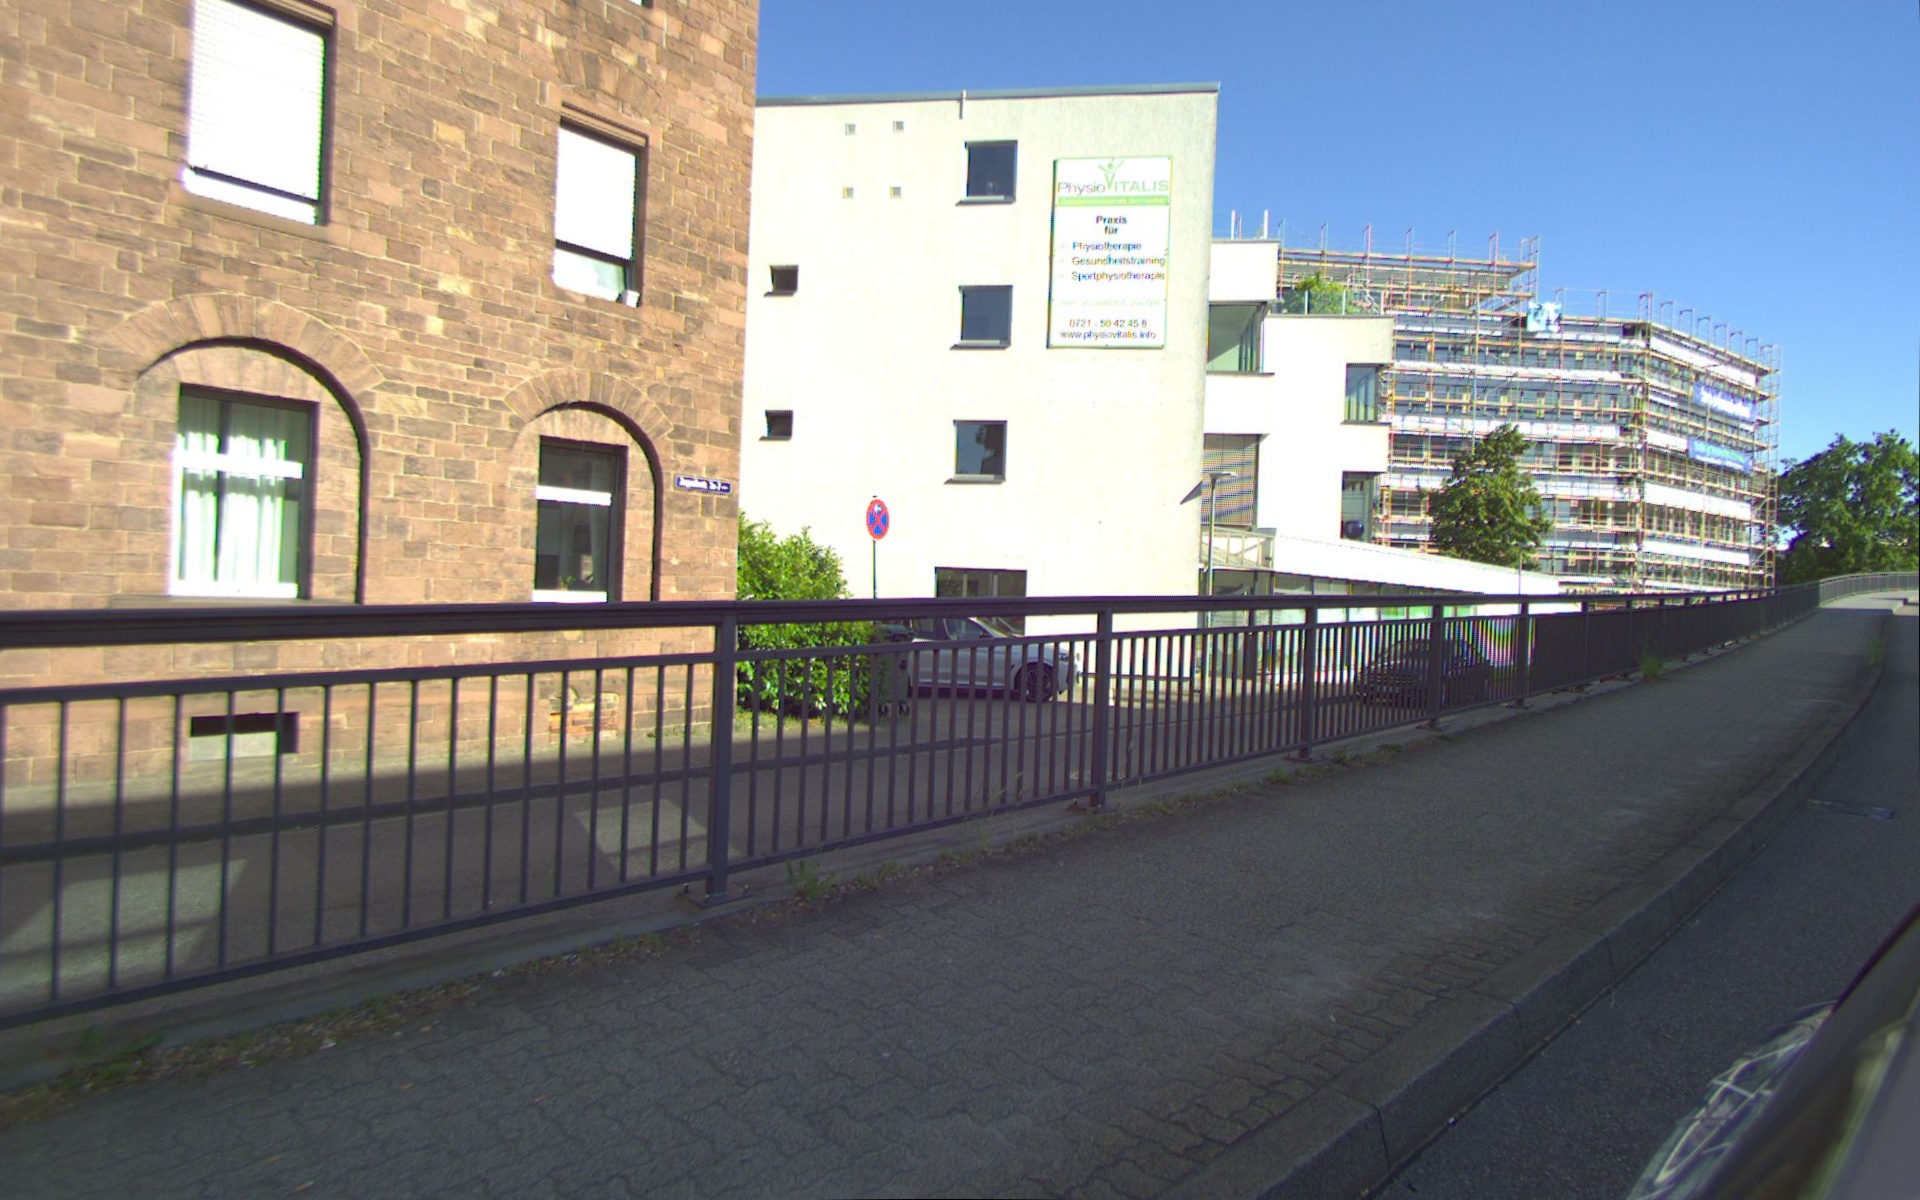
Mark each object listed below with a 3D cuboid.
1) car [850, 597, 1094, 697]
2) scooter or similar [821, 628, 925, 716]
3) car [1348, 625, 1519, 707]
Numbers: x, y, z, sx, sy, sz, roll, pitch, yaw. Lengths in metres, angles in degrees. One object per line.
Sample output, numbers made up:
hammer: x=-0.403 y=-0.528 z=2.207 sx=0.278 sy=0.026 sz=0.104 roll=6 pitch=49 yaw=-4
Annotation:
car: x=0.288 y=0.857 z=19.759 sx=4.569 sy=1.789 sz=1.825 roll=0 pitch=1 yaw=7
scooter or similar: x=-1.317 y=1.049 z=15.208 sx=1.455 sy=1.235 sz=0.774 roll=-1 pitch=-2 yaw=40
car: x=10.608 y=1.379 z=22.508 sx=4.603 sy=1.448 sz=1.847 roll=-1 pitch=1 yaw=-42
